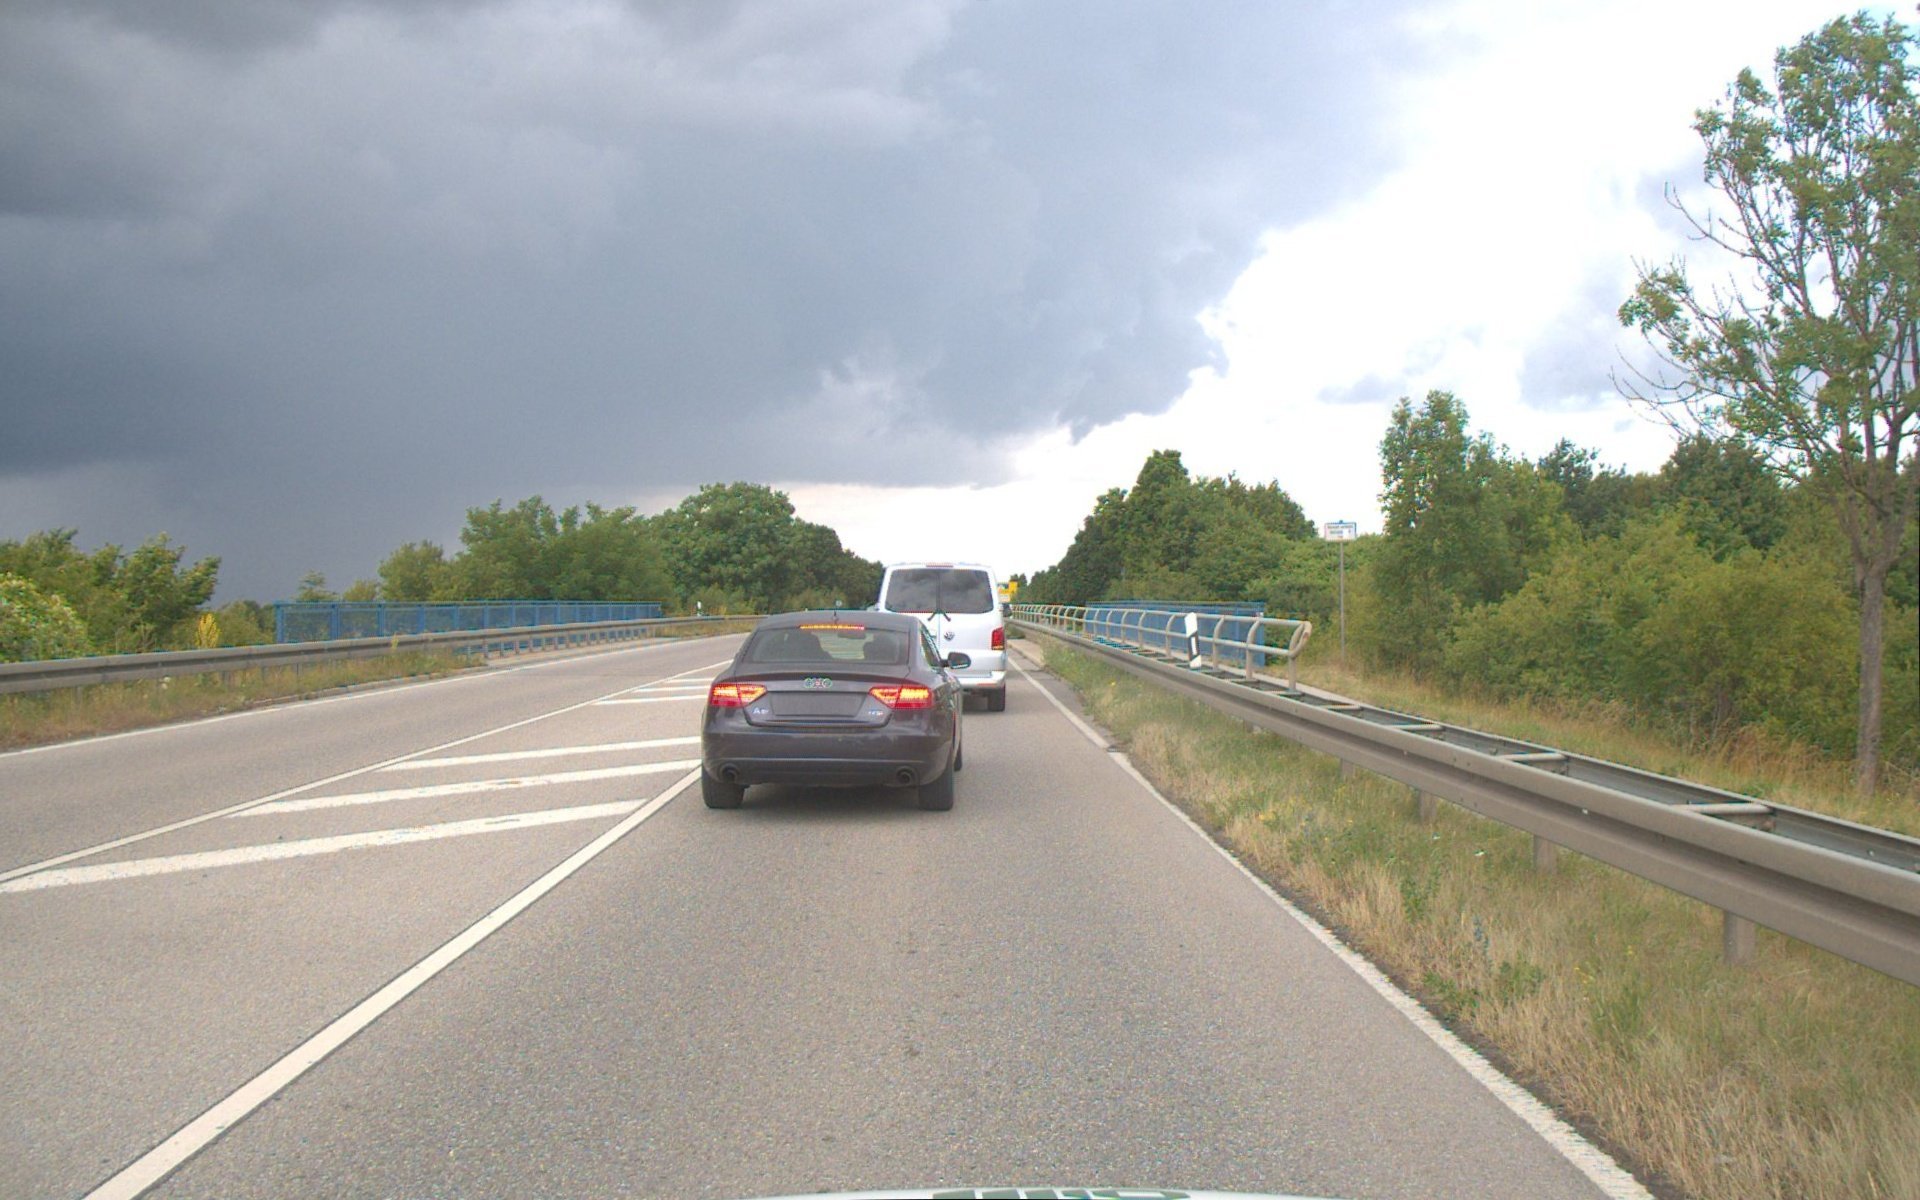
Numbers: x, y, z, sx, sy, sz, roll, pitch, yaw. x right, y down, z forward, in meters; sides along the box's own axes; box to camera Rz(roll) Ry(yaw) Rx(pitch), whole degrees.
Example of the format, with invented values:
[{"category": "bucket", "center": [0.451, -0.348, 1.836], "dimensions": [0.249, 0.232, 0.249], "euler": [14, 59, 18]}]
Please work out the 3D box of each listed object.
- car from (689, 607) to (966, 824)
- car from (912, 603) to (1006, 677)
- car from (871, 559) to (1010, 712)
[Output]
[{"category": "car", "center": [-0.859, 0.761, 12.840], "dimensions": [1.784, 1.405, 4.072], "euler": [0, 0, 0]}, {"category": "car", "center": [-0.004, 0.761, 33.460], "dimensions": [1.784, 1.405, 4.072], "euler": [0, 0, 1]}, {"category": "car", "center": [-0.273, 0.473, 23.437], "dimensions": [1.791, 1.969, 3.999], "euler": [0, 0, -1]}]
